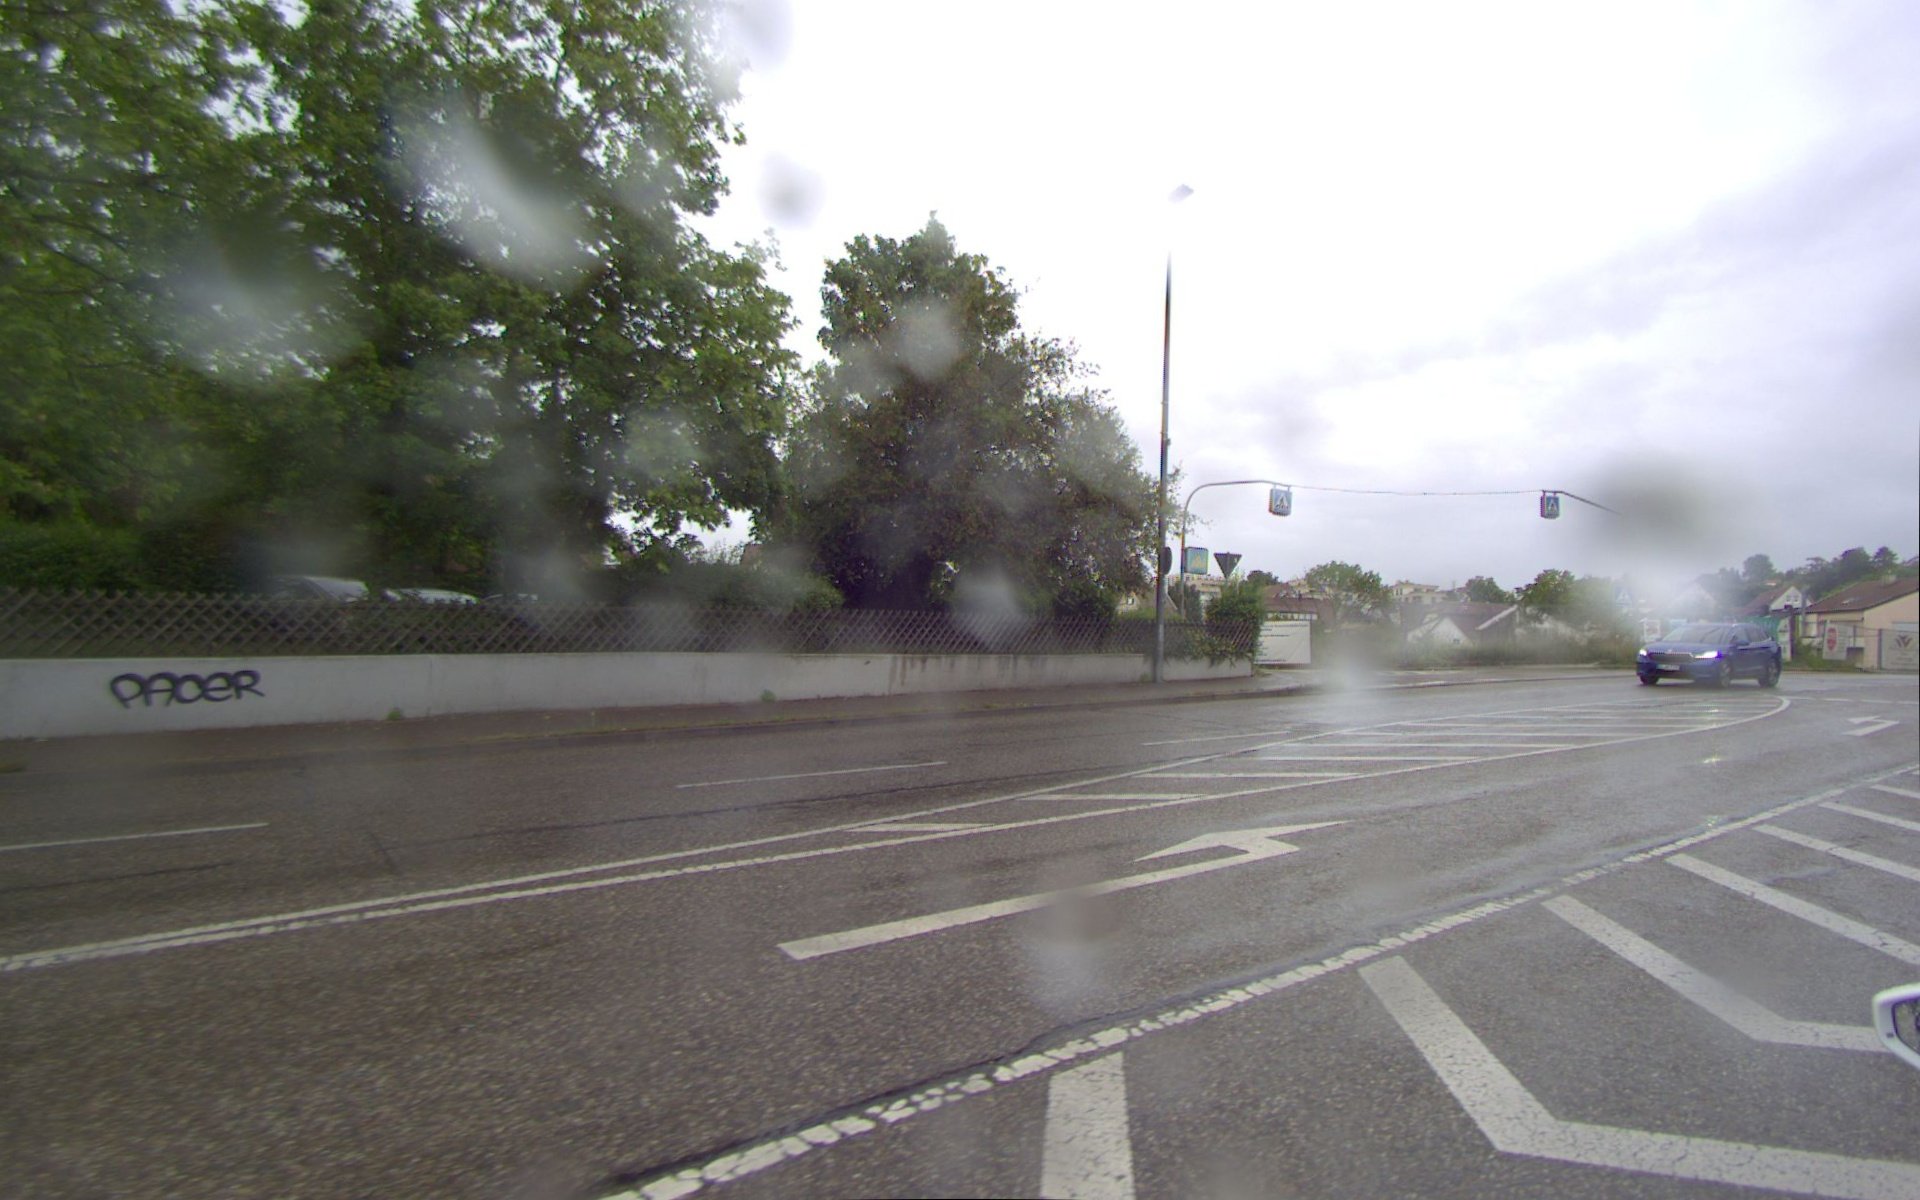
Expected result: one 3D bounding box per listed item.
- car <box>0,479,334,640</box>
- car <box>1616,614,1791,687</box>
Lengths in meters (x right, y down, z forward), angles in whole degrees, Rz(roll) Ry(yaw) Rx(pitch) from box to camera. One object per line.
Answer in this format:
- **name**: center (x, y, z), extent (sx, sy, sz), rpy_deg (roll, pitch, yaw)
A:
- **car**: center (-11.508, -0.554, 14.463), extent (3.919, 2.040, 2.001), rpy_deg (2, -1, 14)
- **car**: center (19.531, 1.342, 26.352), extent (4.650, 1.715, 1.984), rpy_deg (3, -1, -30)
